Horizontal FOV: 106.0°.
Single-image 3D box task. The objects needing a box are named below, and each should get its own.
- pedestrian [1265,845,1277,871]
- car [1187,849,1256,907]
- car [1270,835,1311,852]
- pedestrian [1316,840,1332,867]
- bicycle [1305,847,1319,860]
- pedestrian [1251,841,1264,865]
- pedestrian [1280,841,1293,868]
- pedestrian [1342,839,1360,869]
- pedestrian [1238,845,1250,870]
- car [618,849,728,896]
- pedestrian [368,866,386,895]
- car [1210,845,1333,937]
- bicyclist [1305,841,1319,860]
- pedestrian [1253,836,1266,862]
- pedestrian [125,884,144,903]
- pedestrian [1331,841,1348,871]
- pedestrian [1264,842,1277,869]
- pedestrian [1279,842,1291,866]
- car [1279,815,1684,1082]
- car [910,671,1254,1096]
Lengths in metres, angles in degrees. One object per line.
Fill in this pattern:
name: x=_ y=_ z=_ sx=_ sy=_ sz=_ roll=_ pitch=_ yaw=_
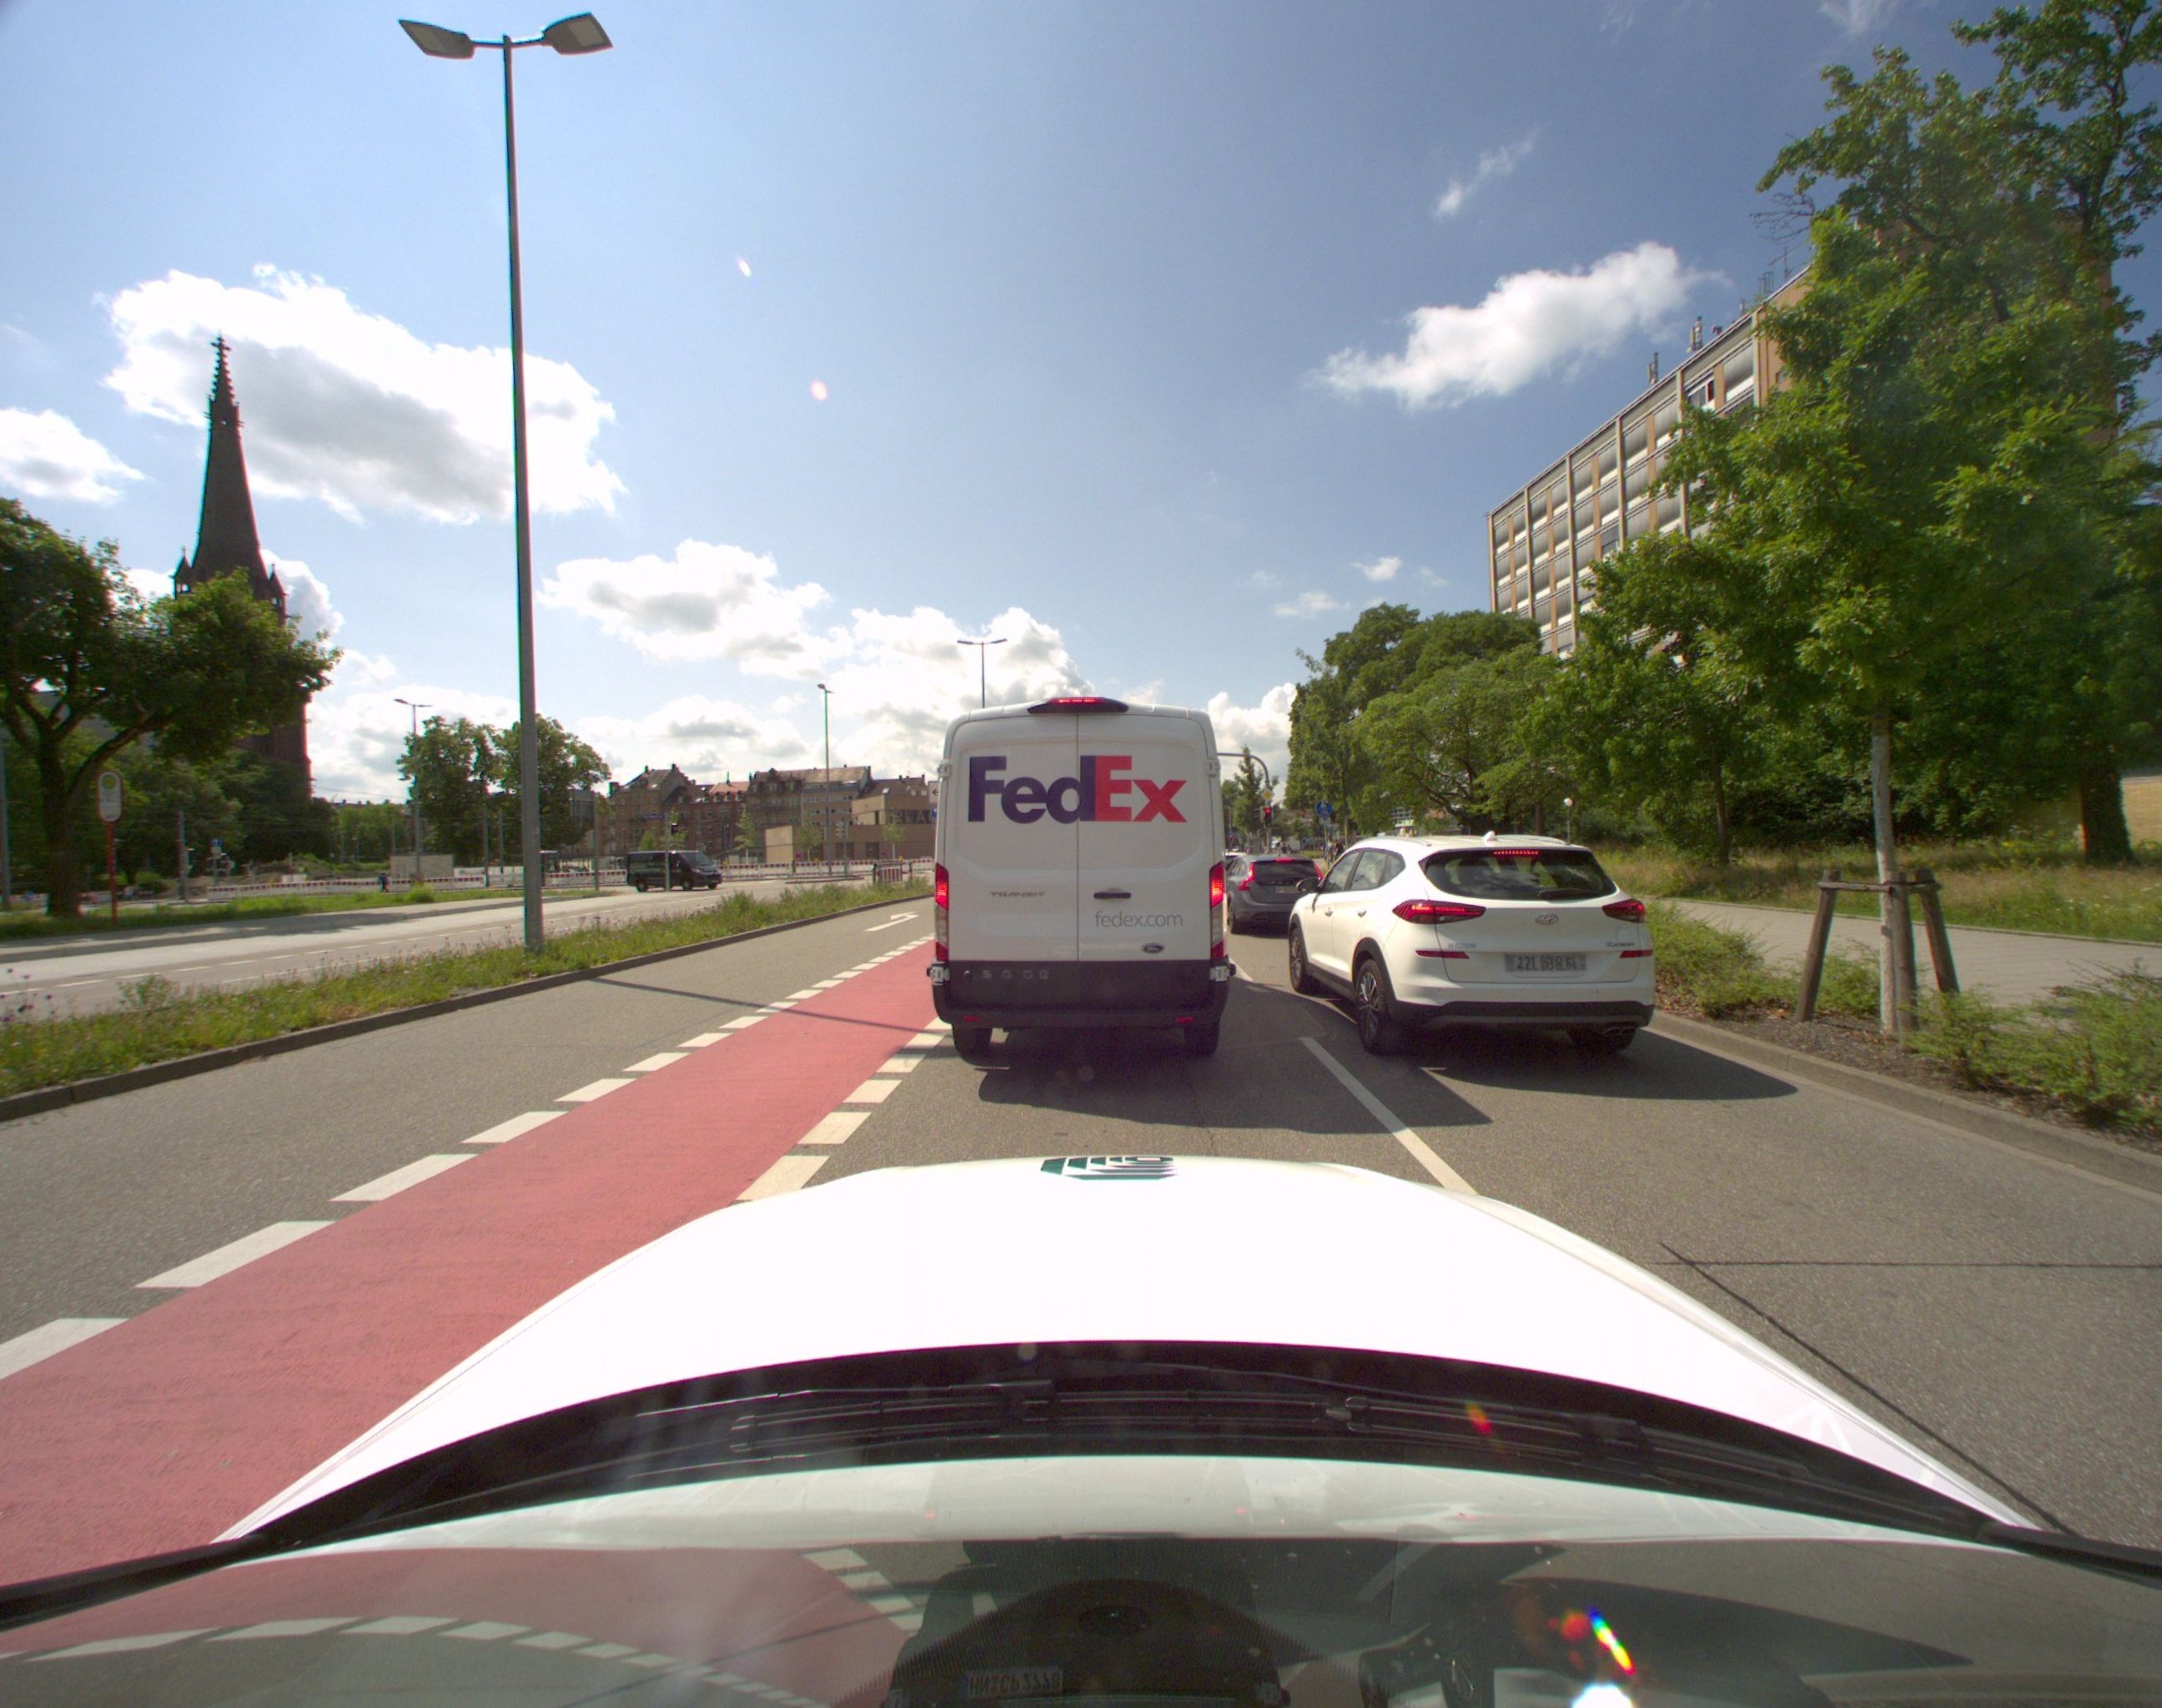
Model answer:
pedestrian: x=13.721 y=0.314 z=58.886 sx=0.753 sy=1.849 sz=0.820 roll=-2 pitch=0 yaw=16
car: x=3.881 y=0.612 z=22.965 sx=1.493 sy=1.464 sz=3.477 roll=-2 pitch=0 yaw=3
car: x=35.411 y=-1.696 z=137.354 sx=7.109 sy=2.717 sz=2.471 roll=0 pitch=-1 yaw=-32
pedestrian: x=16.533 y=-0.029 z=55.414 sx=0.758 sy=1.849 sz=0.814 roll=-2 pitch=0 yaw=-8
bicycle: x=27.182 y=-0.054 z=95.801 sx=1.414 sy=1.464 sz=4.330 roll=-2 pitch=0 yaw=17
pedestrian: x=13.441 y=-0.068 z=62.156 sx=0.756 sy=1.849 sz=0.816 roll=-2 pitch=0 yaw=-1
pedestrian: x=14.445 y=0.057 z=57.194 sx=0.752 sy=1.849 sz=0.820 roll=-2 pitch=0 yaw=20
pedestrian: x=16.801 y=0.006 z=50.740 sx=0.757 sy=1.849 sz=0.815 roll=-2 pitch=0 yaw=-3
pedestrian: x=12.586 y=0.255 z=62.816 sx=0.756 sy=1.849 sz=0.817 roll=-2 pitch=0 yaw=2
car: x=-22.123 y=0.969 z=44.253 sx=4.967 sy=2.175 sz=2.163 roll=-4 pitch=0 yaw=13
pedestrian: x=-49.301 y=1.871 z=57.000 sx=0.644 sy=2.013 sz=0.632 roll=-2 pitch=0 yaw=-1
car: x=3.565 y=0.622 z=15.868 sx=1.684 sy=1.549 sz=3.724 roll=-2 pitch=0 yaw=3
bicyclist: x=27.204 y=-0.390 z=95.838 sx=1.421 sy=2.171 sz=1.345 roll=-2 pitch=0 yaw=17
pedestrian: x=13.060 y=-0.357 z=59.702 sx=0.810 sy=1.849 sz=0.762 roll=-2 pitch=0 yaw=5
pedestrian: x=-85.378 y=3.555 z=73.436 sx=0.860 sy=1.663 sz=0.745 roll=-2 pitch=0 yaw=-29
pedestrian: x=14.837 y=0.102 z=46.787 sx=0.755 sy=1.655 sz=0.817 roll=-2 pitch=0 yaw=5
pedestrian: x=13.158 y=0.102 z=56.542 sx=0.752 sy=1.849 sz=0.820 roll=-2 pitch=0 yaw=20
pedestrian: x=15.847 y=-0.006 z=63.364 sx=0.755 sy=1.849 sz=0.817 roll=-2 pitch=0 yaw=5
car: x=3.056 y=0.601 z=7.242 sx=1.807 sy=1.678 sz=3.978 roll=-2 pitch=0 yaw=3
car: x=0.130 y=0.176 z=7.274 sx=2.064 sy=2.581 sz=4.432 roll=-2 pitch=0 yaw=3
